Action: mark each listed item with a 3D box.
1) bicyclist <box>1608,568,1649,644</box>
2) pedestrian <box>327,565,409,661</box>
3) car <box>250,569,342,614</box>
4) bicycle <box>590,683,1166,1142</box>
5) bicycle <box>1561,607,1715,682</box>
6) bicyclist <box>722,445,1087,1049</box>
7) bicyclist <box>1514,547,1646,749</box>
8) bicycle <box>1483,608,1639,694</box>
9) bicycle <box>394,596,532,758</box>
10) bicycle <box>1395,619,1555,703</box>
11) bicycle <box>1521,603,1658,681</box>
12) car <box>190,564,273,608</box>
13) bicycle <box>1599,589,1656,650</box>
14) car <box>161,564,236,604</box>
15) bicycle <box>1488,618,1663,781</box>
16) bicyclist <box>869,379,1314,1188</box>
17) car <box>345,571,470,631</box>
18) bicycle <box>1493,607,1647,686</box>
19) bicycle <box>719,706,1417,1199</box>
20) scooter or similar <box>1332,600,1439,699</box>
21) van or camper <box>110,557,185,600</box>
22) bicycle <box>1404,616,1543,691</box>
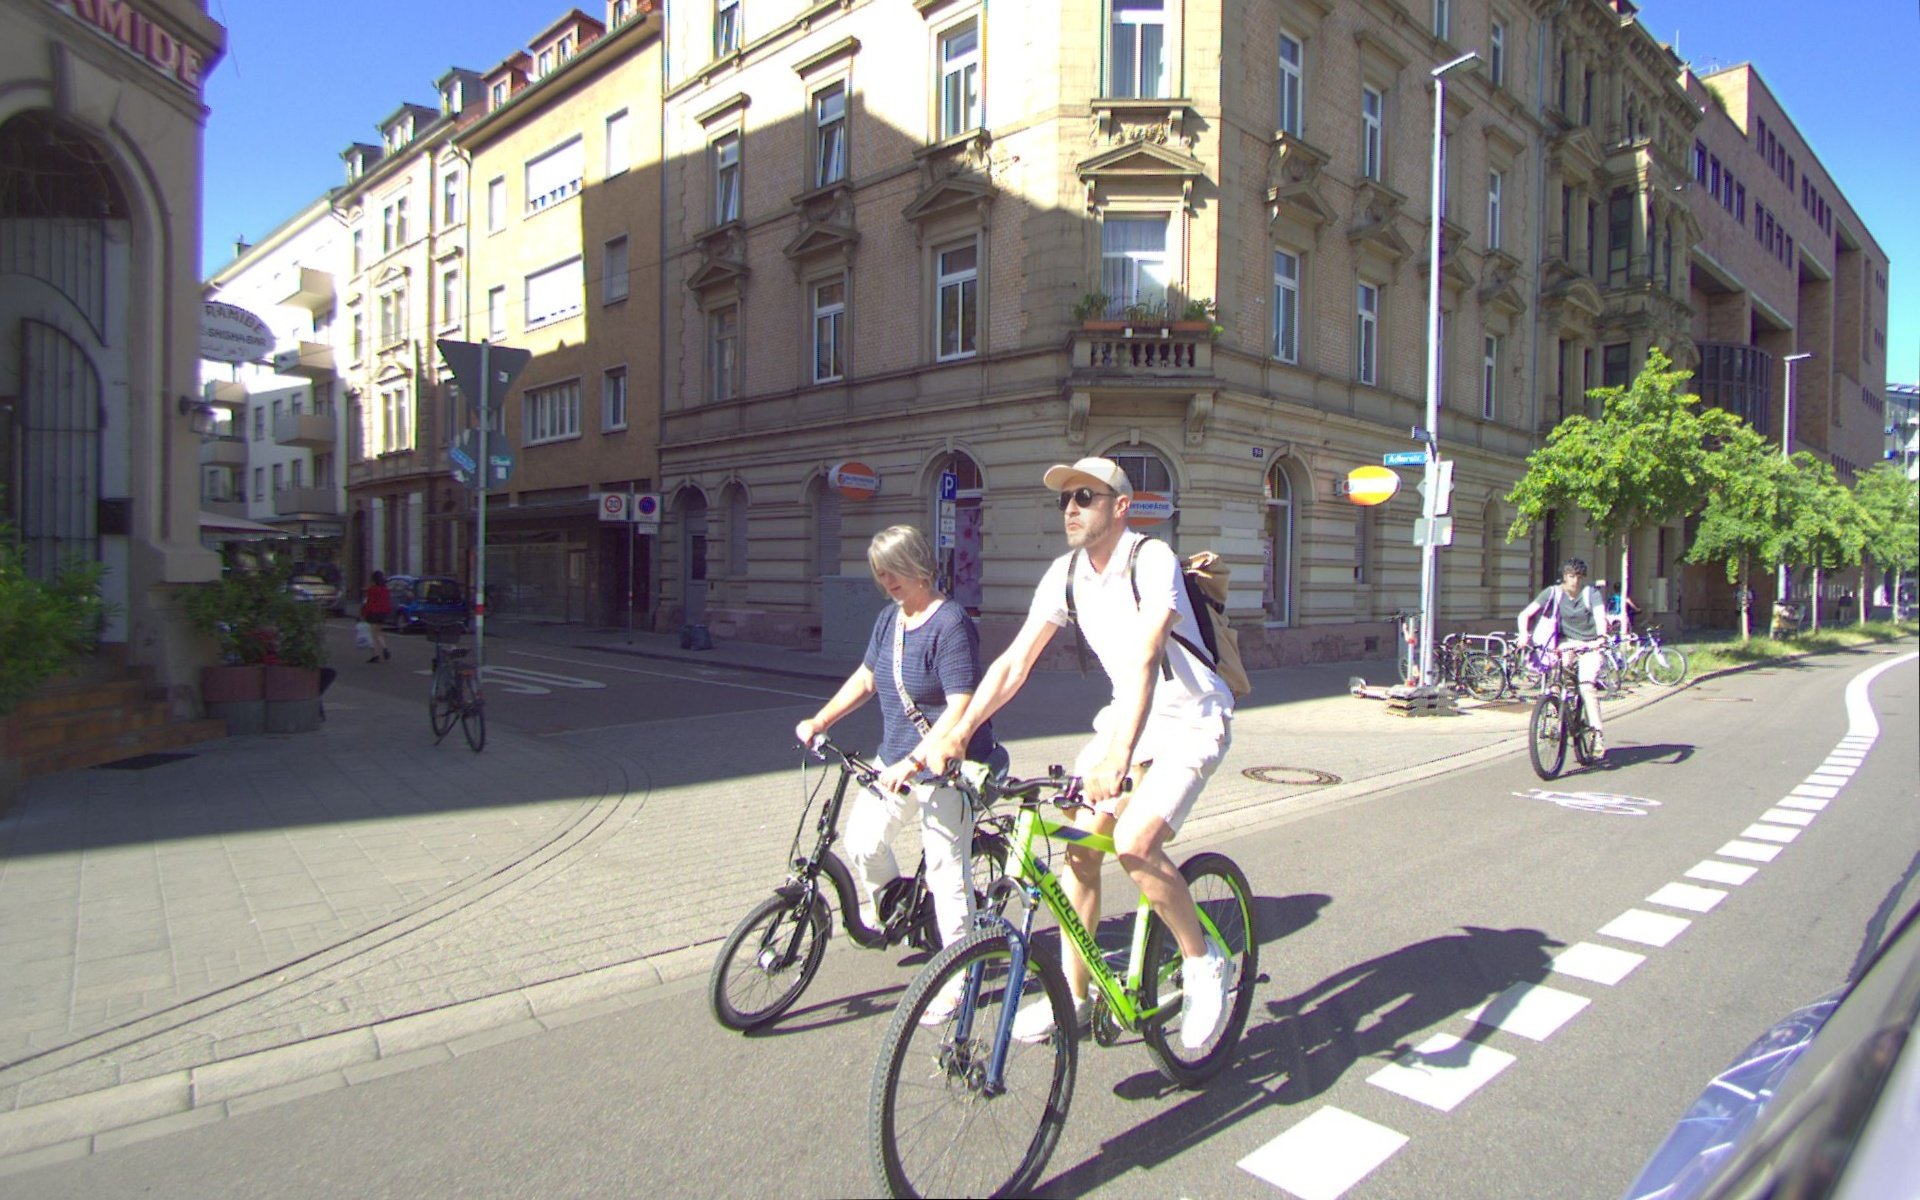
[{"bbox_3d":[14.812,0.111,22.418,0.781,1.637,0.578,-1,2,-43],"label":"bicyclist"},{"bbox_3d":[-10.209,0.215,17.461,0.824,1.593,0.901,-1,0,22],"label":"pedestrian"},{"bbox_3d":[-20.764,-0.298,31.624,3.376,1.338,1.605,1,2,42],"label":"car"},{"bbox_3d":[-0.202,0.888,3.574,1.918,1.019,0.829,0,0,-41],"label":"bicycle"},{"bbox_3d":[11.862,0.748,17.774,0.833,1.054,2.062,-1,5,-41],"label":"bicycle"},{"bbox_3d":[-0.198,0.421,3.580,0.971,1.748,0.853,0,0,-41],"label":"bicyclist"},{"bbox_3d":[5.337,0.383,8.712,0.879,1.625,0.724,0,0,-41],"label":"bicyclist"},{"bbox_3d":[8.915,0.725,15.080,0.598,1.061,1.873,-1,4,-45],"label":"bicycle"},{"bbox_3d":[-4.628,0.641,9.330,0.801,1.247,2.221,4,0,-34],"label":"bicycle"},{"bbox_3d":[7.037,0.796,13.933,0.580,0.922,1.911,-1,4,-31],"label":"bicycle"},{"bbox_3d":[10.623,0.679,17.105,1.115,1.074,1.677,-1,6,-42],"label":"bicycle"},{"bbox_3d":[-25.892,-0.506,35.926,3.425,1.424,1.605,3,1,41],"label":"car"},{"bbox_3d":[14.819,0.403,22.441,2.063,1.268,0.578,-1,2,-43],"label":"bicycle"},{"bbox_3d":[-29.647,-0.635,39.371,3.425,1.424,1.605,3,1,41],"label":"car"},{"bbox_3d":[5.319,0.779,8.694,1.918,1.209,0.724,0,0,-41],"label":"bicycle"},{"bbox_3d":[0.353,0.374,2.677,0.959,1.677,0.700,0,0,-39],"label":"bicyclist"},{"bbox_3d":[-14.305,-0.012,26.155,3.685,1.428,1.594,2,2,40],"label":"car"},{"bbox_3d":[9.808,0.717,16.325,1.013,1.043,1.901,-1,4,-43],"label":"bicycle"},{"bbox_3d":[0.401,0.897,2.712,1.917,1.019,0.725,0,0,-39],"label":"bicycle"},{"bbox_3d":[5.594,0.625,13.332,0.479,1.212,1.197,0,1,-44],"label":"scooter or similar"},{"bbox_3d":[-37.546,-1.005,46.713,4.527,1.867,1.857,3,1,41],"label":"van or camper"},{"bbox_3d":[7.340,0.742,14.537,0.488,0.937,1.716,-1,2,-40],"label":"bicycle"}]
